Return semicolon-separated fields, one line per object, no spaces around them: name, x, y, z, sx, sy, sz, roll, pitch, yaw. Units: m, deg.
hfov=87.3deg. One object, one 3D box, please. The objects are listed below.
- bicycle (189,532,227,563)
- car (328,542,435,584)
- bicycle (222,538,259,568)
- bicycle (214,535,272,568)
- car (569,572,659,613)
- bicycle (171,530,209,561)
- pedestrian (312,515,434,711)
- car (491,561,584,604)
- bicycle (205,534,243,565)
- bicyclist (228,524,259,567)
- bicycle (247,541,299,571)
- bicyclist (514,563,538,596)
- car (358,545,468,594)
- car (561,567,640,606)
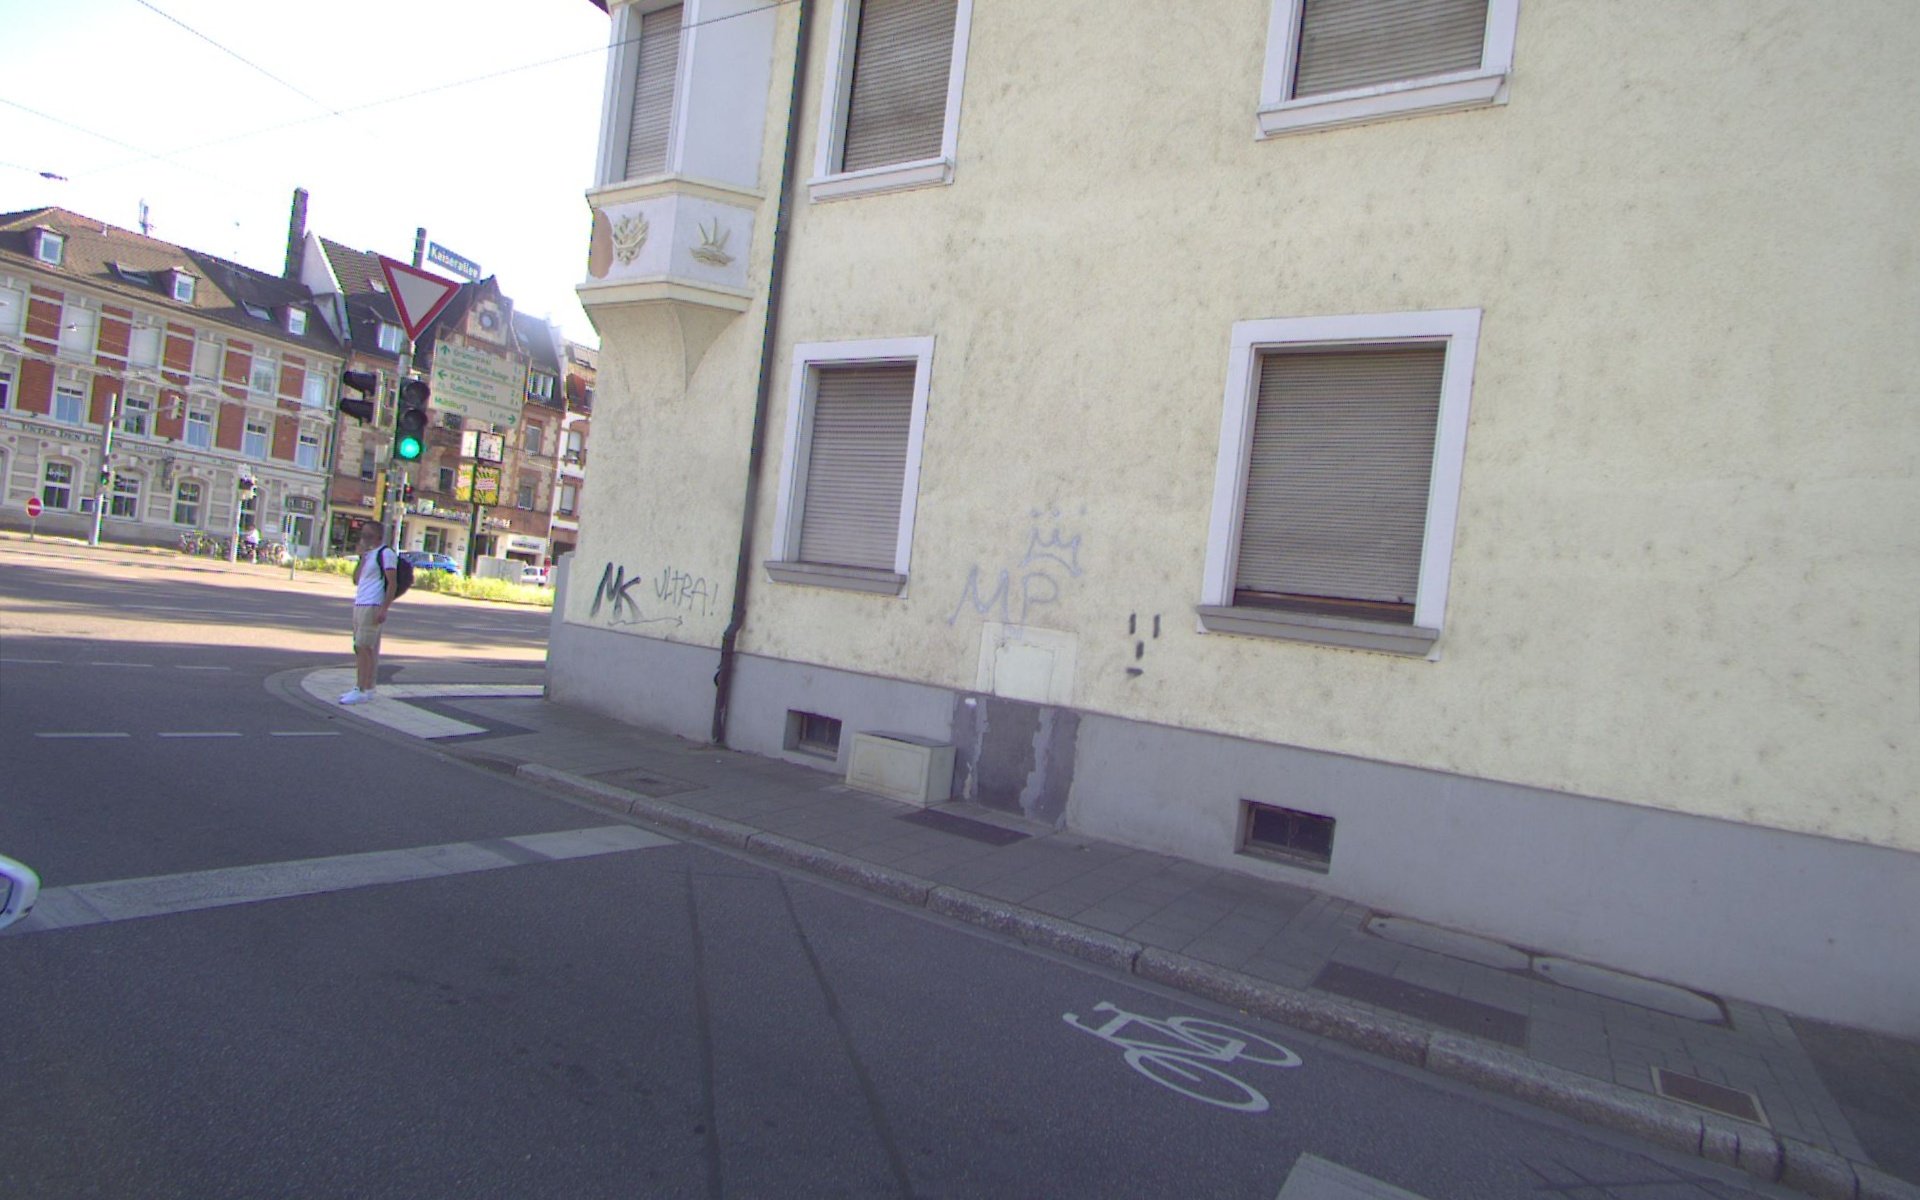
bicycle;-34.538;-2.398;46.191;1.935;1.205;0.678;7;0;33
car;-27.822;-1.743;48.472;1.815;1.429;3.993;7;-1;31
bicycle;-33.852;-2.211;47.320;1.935;1.205;0.678;7;0;33
bicycle;-32.390;-2.194;45.462;0.592;1.205;1.962;7;-1;34
car;-19.395;-0.394;56.604;1.922;1.688;4.480;7;-1;31
bicycle;-34.878;-2.483;45.578;1.935;1.205;0.678;7;0;33
pedestrian;-5.614;0.117;9.646;0.661;1.764;0.689;5;2;2
car;-21.914;-0.905;52.339;1.922;1.688;3.993;7;-1;31
bicycle;-34.198;-2.360;46.747;1.935;1.205;0.678;7;0;33
bicyclist;-32.368;-2.459;45.450;0.592;1.785;0.873;7;0;34
bicycle;-32.875;-2.094;48.172;0.667;1.205;1.968;7;-1;20
bicyclist;-25.191;-1.210;58.427;0.591;1.785;0.905;7;0;29
car;-25.397;-1.383;46.835;1.922;1.688;3.993;7;-1;31
car;-23.232;-0.845;65.190;1.922;1.988;4.411;7;-1;31
